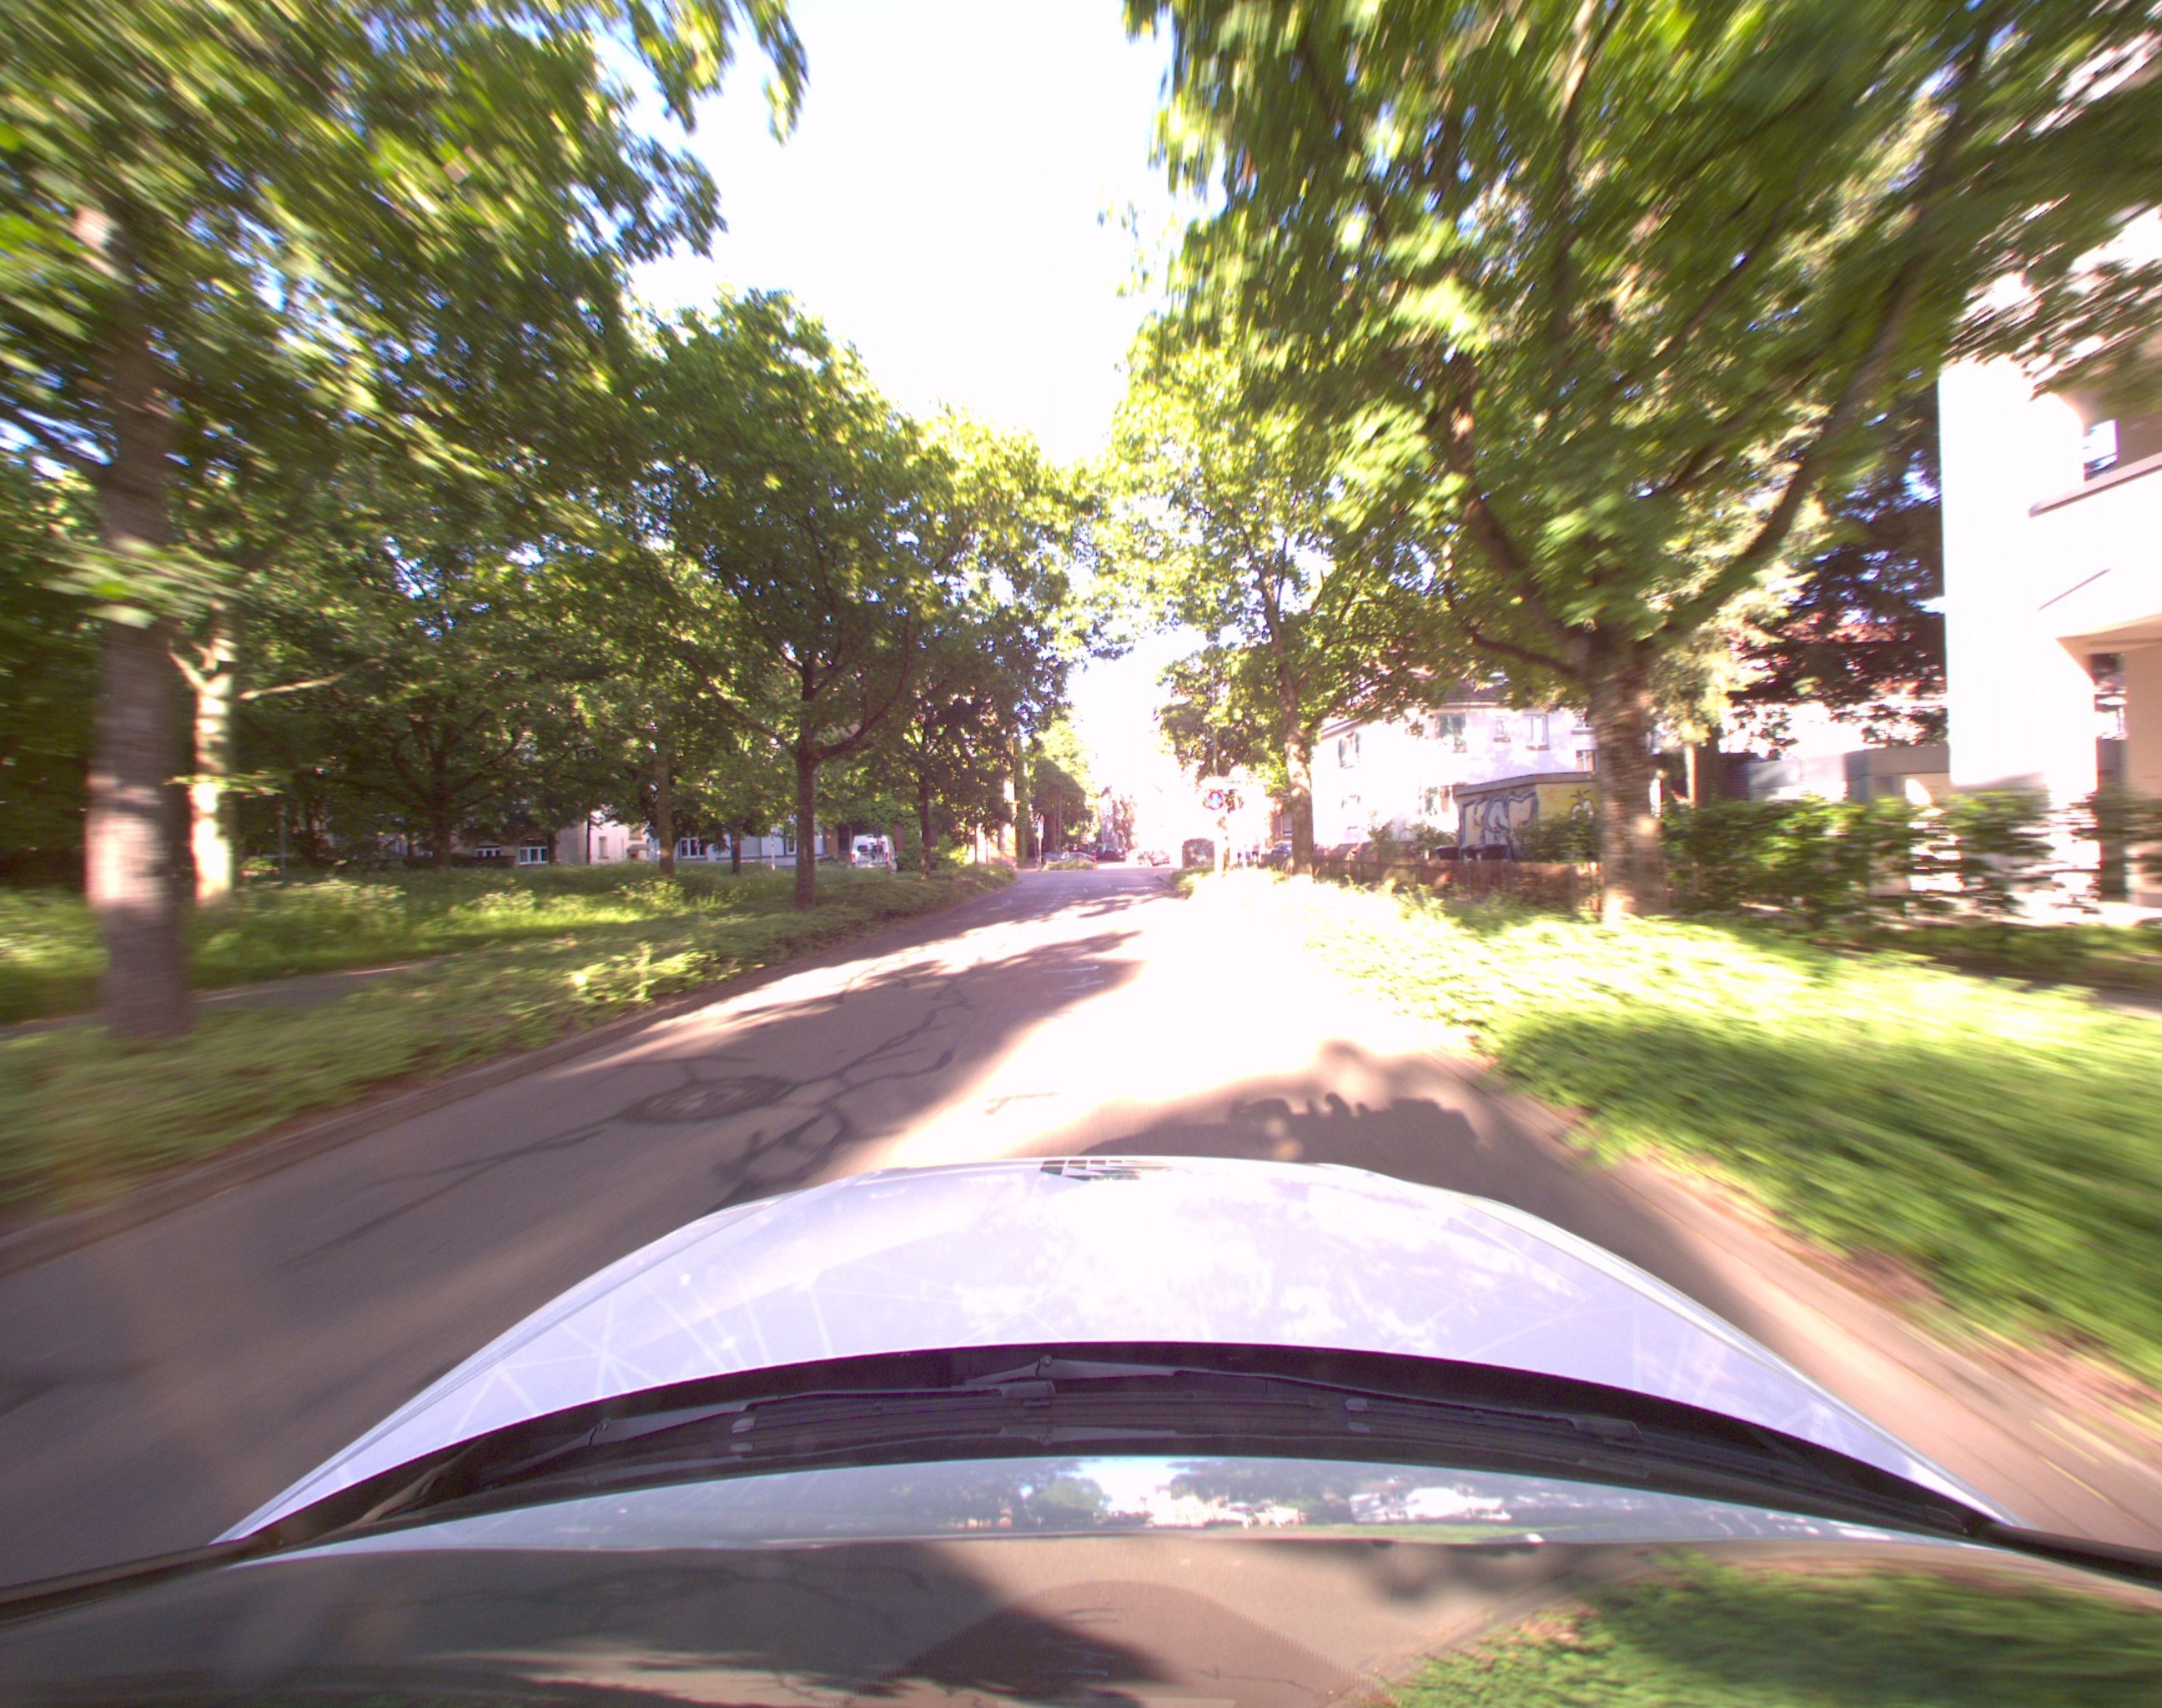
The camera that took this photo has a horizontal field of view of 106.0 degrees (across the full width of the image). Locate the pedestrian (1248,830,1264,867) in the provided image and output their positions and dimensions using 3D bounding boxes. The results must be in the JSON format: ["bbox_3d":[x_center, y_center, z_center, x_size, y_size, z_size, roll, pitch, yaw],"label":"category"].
[{"bbox_3d":[9.042,-0.288,42.077,0.614,1.870,0.694,-1,0,-5],"label":"pedestrian"}]

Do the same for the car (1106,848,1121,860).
[{"bbox_3d":[4.293,0.031,107.606,1.806,1.501,3.998,-1,0,-1],"label":"car"}]

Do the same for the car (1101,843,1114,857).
[{"bbox_3d":[3.982,-0.631,124.377,1.806,2.050,3.998,-1,0,-1],"label":"car"}]

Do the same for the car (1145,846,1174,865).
[{"bbox_3d":[6.768,0.115,70.706,1.808,1.501,3.993,-2,0,-5],"label":"car"}]

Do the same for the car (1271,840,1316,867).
[{"bbox_3d":[13.148,-0.030,50.585,1.986,1.585,3.641,-1,0,2],"label":"car"}]

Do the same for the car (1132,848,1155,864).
[{"bbox_3d":[6.325,0.173,82.382,1.888,1.574,3.996,-1,0,-2],"label":"car"}]

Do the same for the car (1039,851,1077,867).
[{"bbox_3d":[-2.278,0.478,80.175,3.583,1.510,1.497,-1,0,-6],"label":"car"}]

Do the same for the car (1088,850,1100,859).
[{"bbox_3d":[2.270,0.018,141.404,1.806,1.501,3.998,-1,0,-1],"label":"car"}]

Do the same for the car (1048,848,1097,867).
[{"bbox_3d":[-0.768,0.274,68.874,3.982,1.501,1.813,-1,0,-6],"label":"car"}]

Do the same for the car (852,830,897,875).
[{"bbox_3d":[-12.040,-0.073,47.641,1.991,2.508,3.991,-1,0,-7],"label":"car"}]

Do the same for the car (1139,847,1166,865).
[{"bbox_3d":[6.724,0.176,76.774,1.989,1.574,3.996,-1,0,-2],"label":"car"}]

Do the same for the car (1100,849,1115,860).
[{"bbox_3d":[3.703,0.037,114.165,1.806,1.501,3.998,-1,0,-1],"label":"car"}]

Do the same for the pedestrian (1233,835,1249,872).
[{"bbox_3d":[8.180,-0.042,41.680,0.614,1.870,0.694,-1,0,-5],"label":"pedestrian"}]

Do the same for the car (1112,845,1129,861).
[{"bbox_3d":[4.794,-0.168,99.446,1.806,1.925,3.998,-1,0,-1],"label":"car"}]
